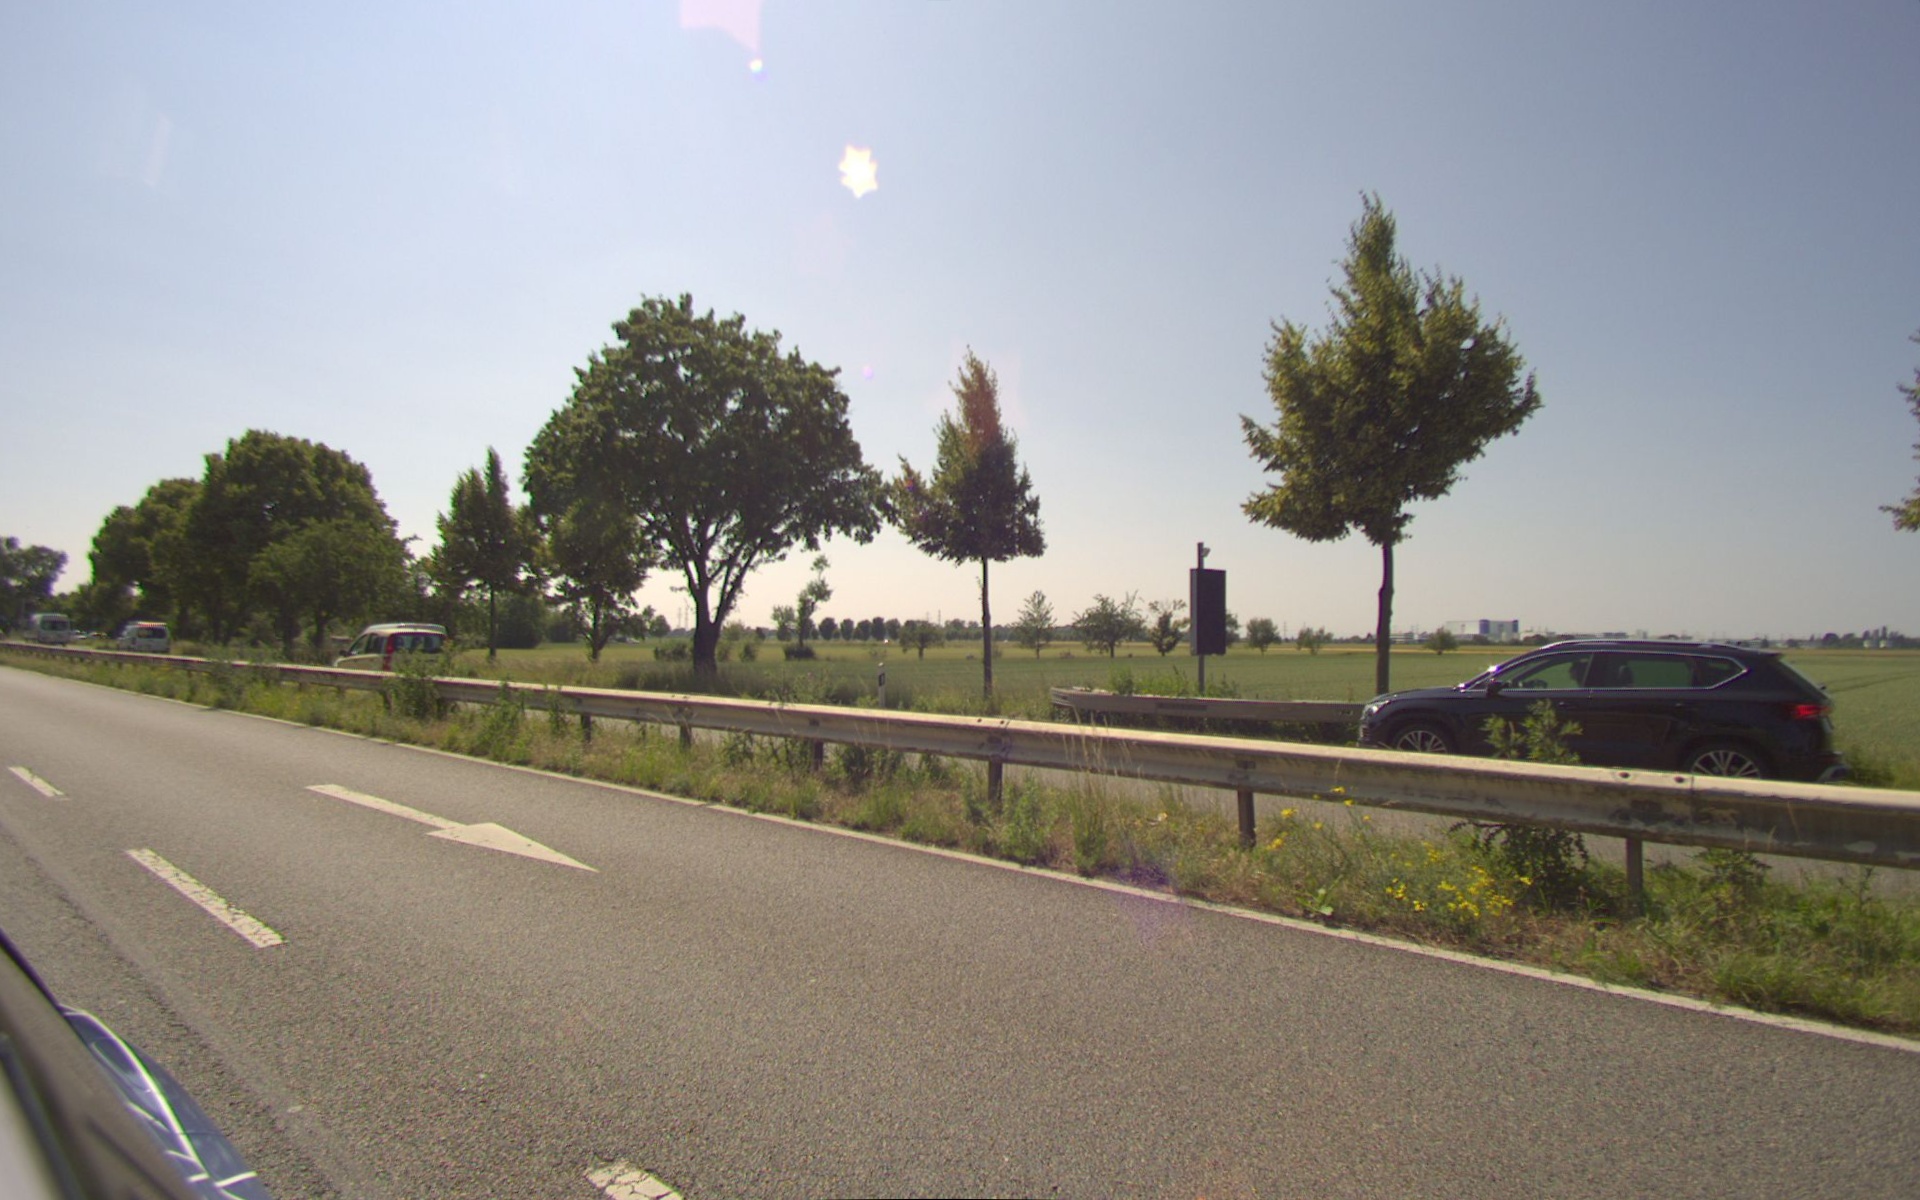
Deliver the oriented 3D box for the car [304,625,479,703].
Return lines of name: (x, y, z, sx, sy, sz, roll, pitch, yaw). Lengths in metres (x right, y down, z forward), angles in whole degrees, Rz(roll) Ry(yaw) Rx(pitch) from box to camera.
car: (-12.790, 1.353, 22.662, 4.477, 1.569, 1.973, -1, -2, 40)

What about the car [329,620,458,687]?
car: (-18.166, 1.648, 32.346, 4.924, 1.975, 1.973, -1, -3, 40)

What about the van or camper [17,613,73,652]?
van or camper: (-72.231, 2.591, 79.856, 7.088, 2.971, 2.360, -2, -3, 41)

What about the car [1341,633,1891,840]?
car: (6.566, 1.196, 10.540, 4.477, 1.675, 1.973, -1, -2, 40)

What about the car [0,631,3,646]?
car: (-104.661, 4.107, 108.816, 4.862, 1.603, 1.935, -1, -3, 40)

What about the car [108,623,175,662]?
car: (-45.078, 2.311, 55.727, 4.529, 2.029, 2.017, -1, -3, 40)
